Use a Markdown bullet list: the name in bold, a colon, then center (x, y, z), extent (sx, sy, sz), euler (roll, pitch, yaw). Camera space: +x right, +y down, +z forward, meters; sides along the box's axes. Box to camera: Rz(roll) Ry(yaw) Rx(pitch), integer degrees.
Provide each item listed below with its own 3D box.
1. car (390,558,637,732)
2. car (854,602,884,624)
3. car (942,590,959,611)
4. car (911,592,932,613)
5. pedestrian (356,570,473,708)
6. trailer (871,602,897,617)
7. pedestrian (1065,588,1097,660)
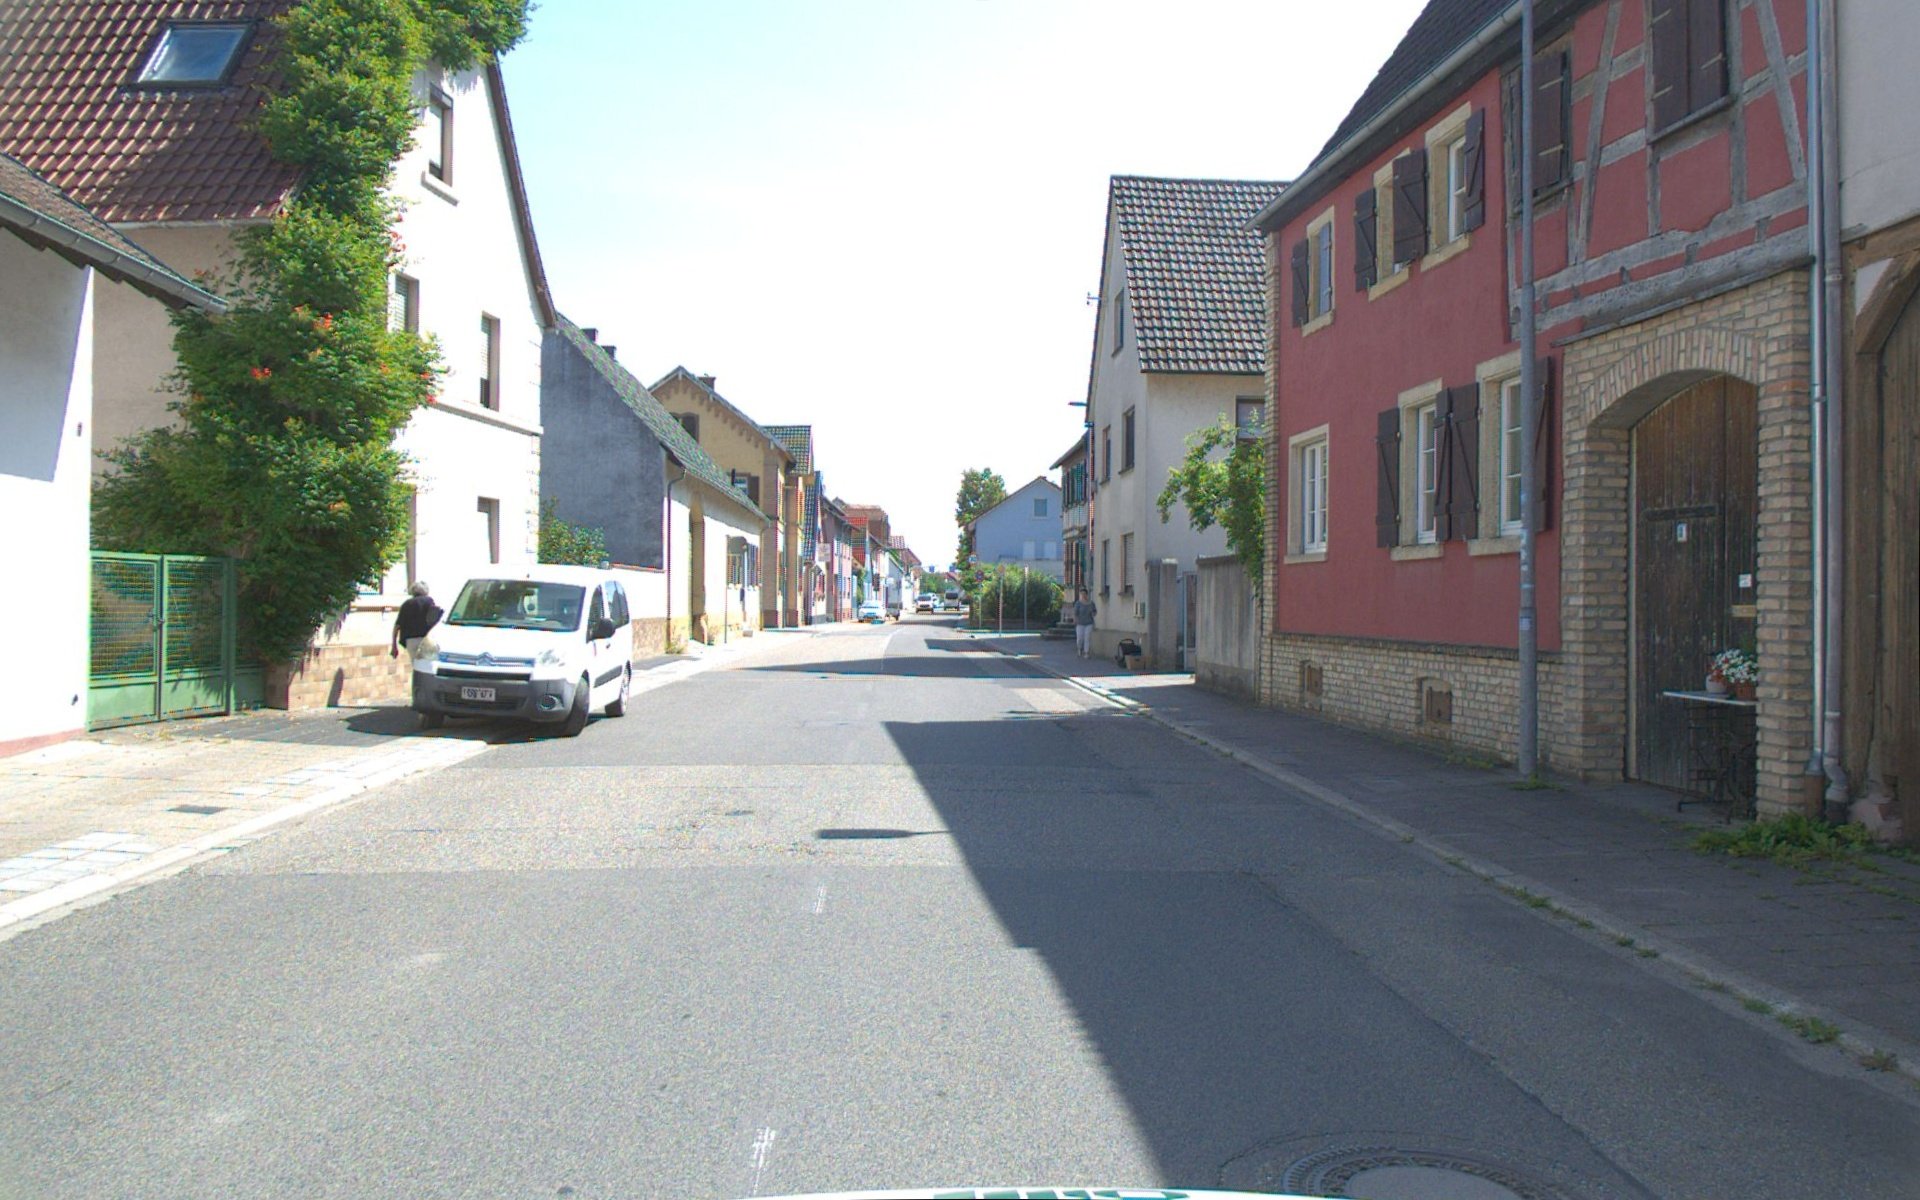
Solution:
- **car**: center (-4.876, 0.446, 18.700), extent (1.818, 1.676, 4.426), euler (2, 0, -4)
- **car**: center (-6.232, 0.901, 113.280), extent (1.953, 1.467, 3.999), euler (0, 0, -2)
- **car**: center (-1.165, 0.065, 207.937), extent (1.977, 2.612, 3.998), euler (0, 0, -2)
- **car**: center (-4.227, 0.265, 181.053), extent (2.115, 2.116, 3.997), euler (0, -2, -3)
- **pedestrian**: center (-6.518, 0.456, 19.831), extent (0.993, 1.579, 1.139), euler (1, 0, -1)
- **trailer**: center (-5.969, 0.719, 130.099), extent (1.954, 1.109, 3.998), euler (1, 0, -3)
- **pedestrian**: center (2.888, 0.566, 39.607), extent (0.704, 1.693, 0.892), euler (1, 0, 2)
